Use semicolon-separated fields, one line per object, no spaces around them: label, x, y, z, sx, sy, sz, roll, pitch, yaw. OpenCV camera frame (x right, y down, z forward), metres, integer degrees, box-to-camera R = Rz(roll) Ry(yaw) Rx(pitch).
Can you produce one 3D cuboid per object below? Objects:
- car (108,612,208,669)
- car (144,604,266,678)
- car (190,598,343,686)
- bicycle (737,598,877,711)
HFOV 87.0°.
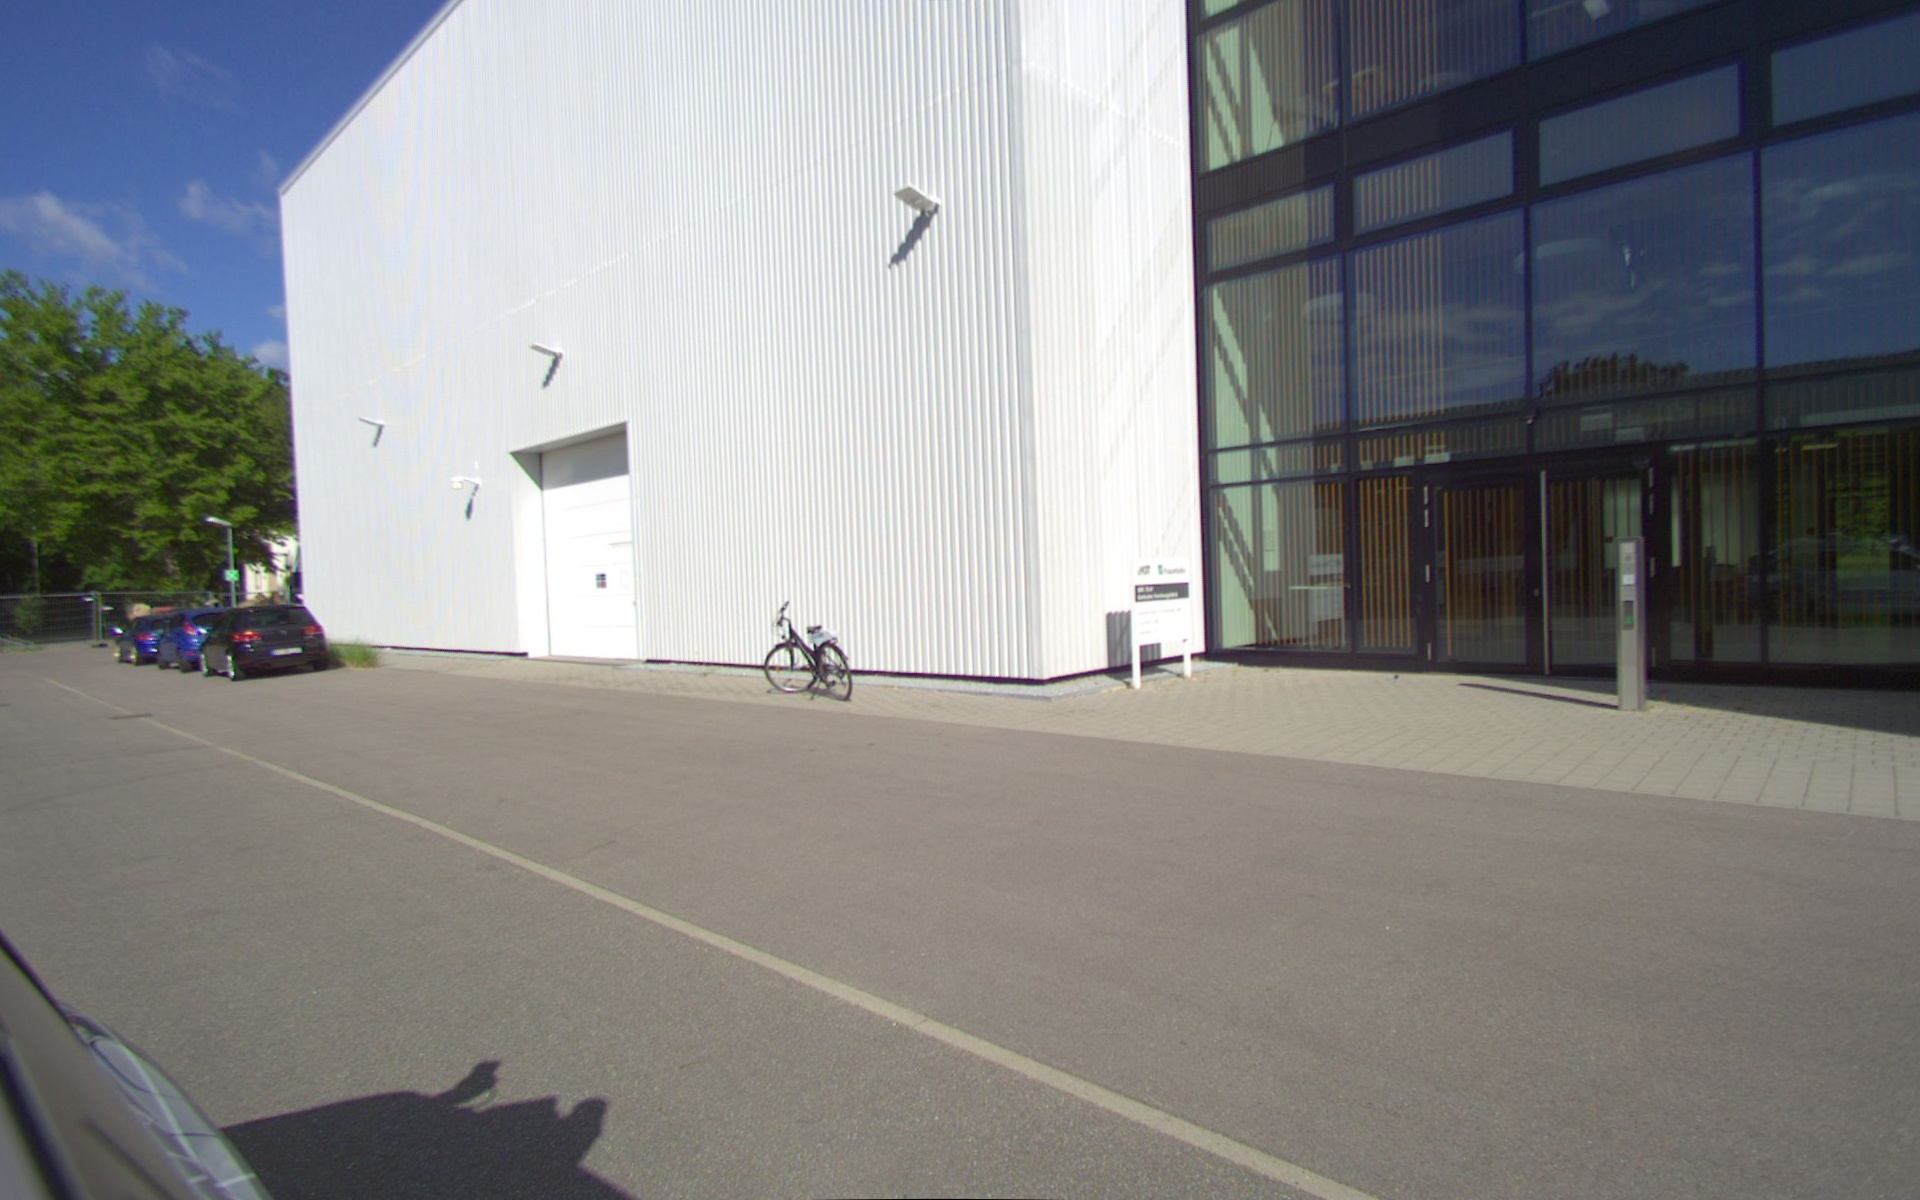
car;-22.839;1.100;28.773;4.002;1.451;1.765;-1;0;45
car;-18.761;0.960;25.084;4.002;1.533;1.766;-1;4;45
car;-14.849;0.841;21.584;4.002;1.533;1.870;-1;4;45
bicycle;-1.879;0.600;12.173;0.895;1.151;1.905;-6;4;-32
